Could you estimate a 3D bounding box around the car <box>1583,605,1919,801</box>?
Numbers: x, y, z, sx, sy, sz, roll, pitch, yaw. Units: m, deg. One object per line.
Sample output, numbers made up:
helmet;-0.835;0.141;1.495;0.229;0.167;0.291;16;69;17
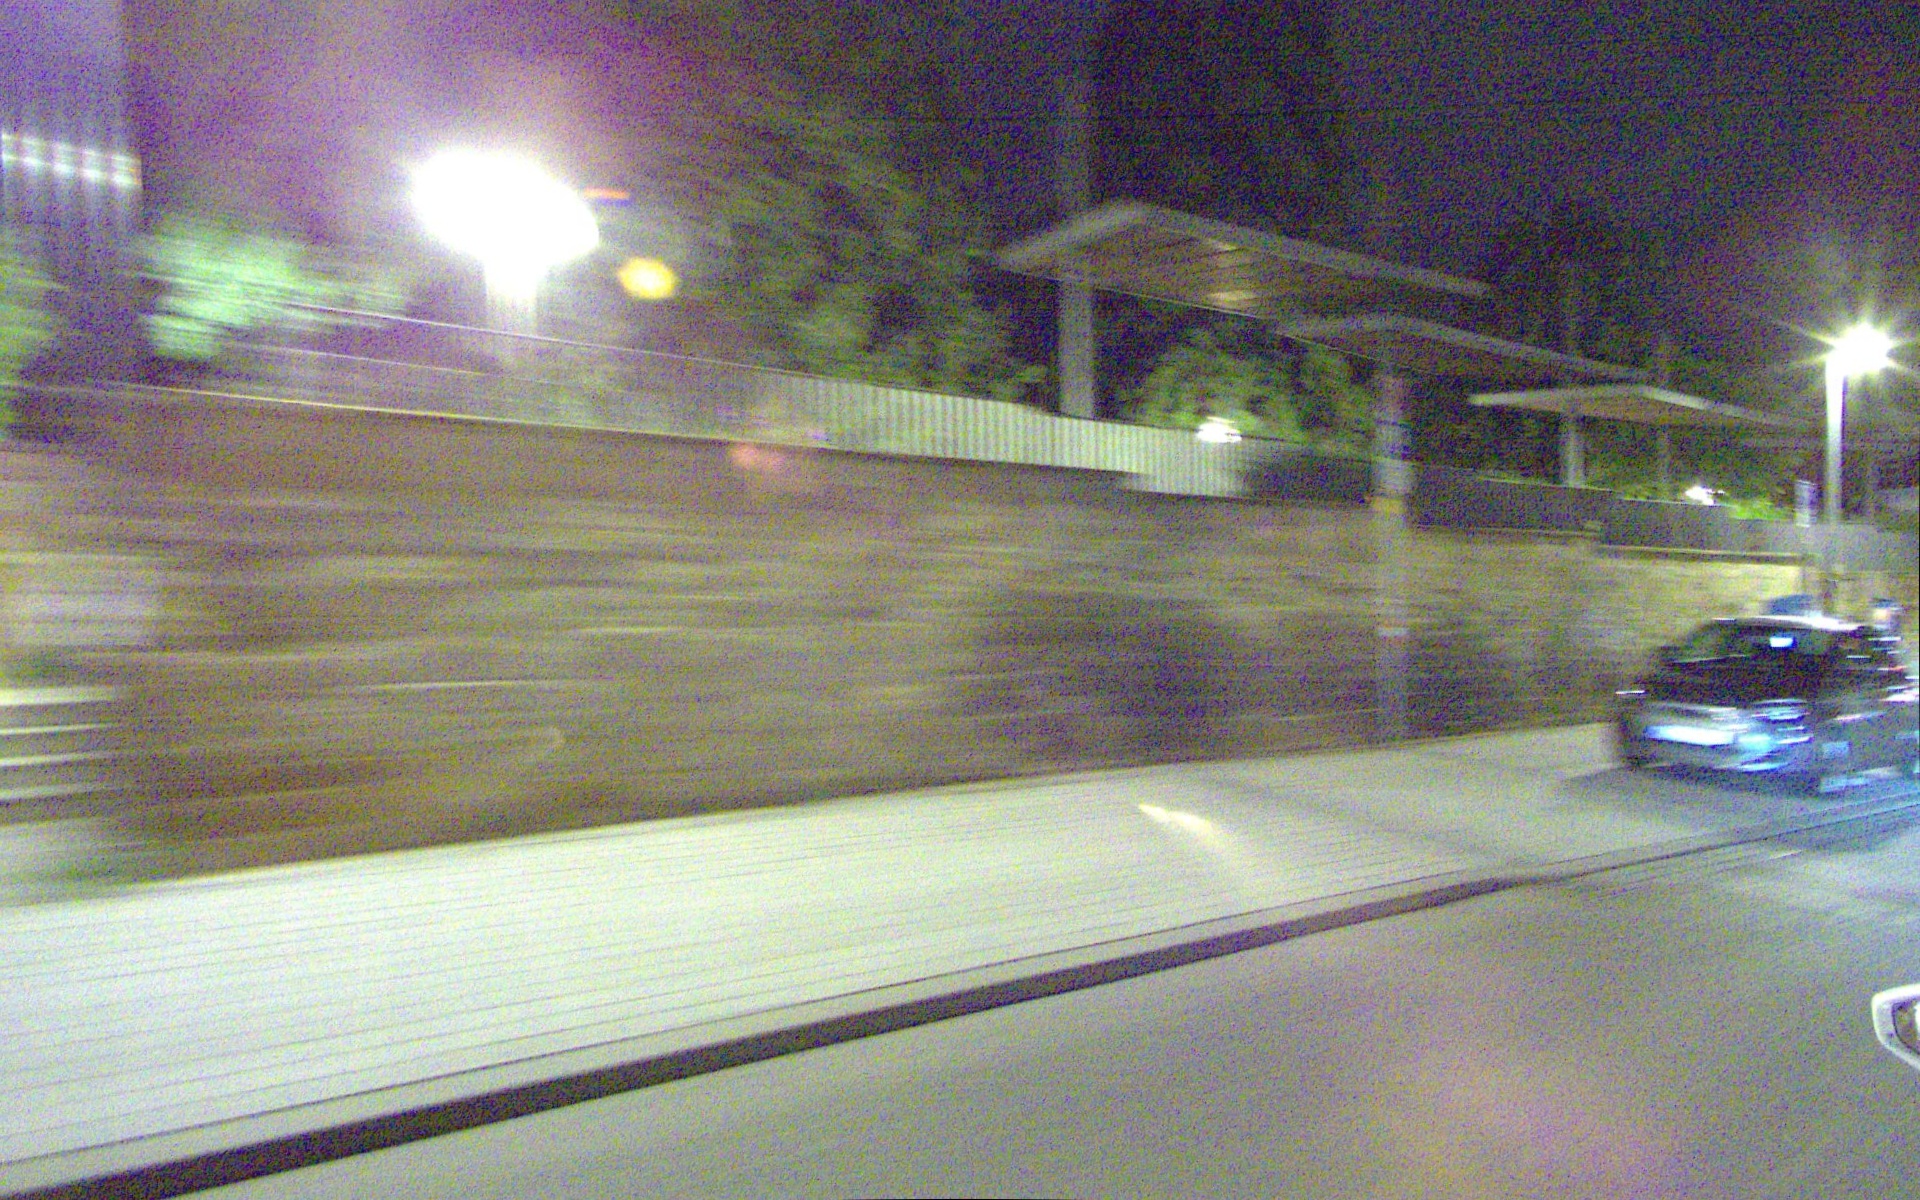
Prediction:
car;7.923;0.899;9.759;3.649;1.544;1.683;2;0;-31
